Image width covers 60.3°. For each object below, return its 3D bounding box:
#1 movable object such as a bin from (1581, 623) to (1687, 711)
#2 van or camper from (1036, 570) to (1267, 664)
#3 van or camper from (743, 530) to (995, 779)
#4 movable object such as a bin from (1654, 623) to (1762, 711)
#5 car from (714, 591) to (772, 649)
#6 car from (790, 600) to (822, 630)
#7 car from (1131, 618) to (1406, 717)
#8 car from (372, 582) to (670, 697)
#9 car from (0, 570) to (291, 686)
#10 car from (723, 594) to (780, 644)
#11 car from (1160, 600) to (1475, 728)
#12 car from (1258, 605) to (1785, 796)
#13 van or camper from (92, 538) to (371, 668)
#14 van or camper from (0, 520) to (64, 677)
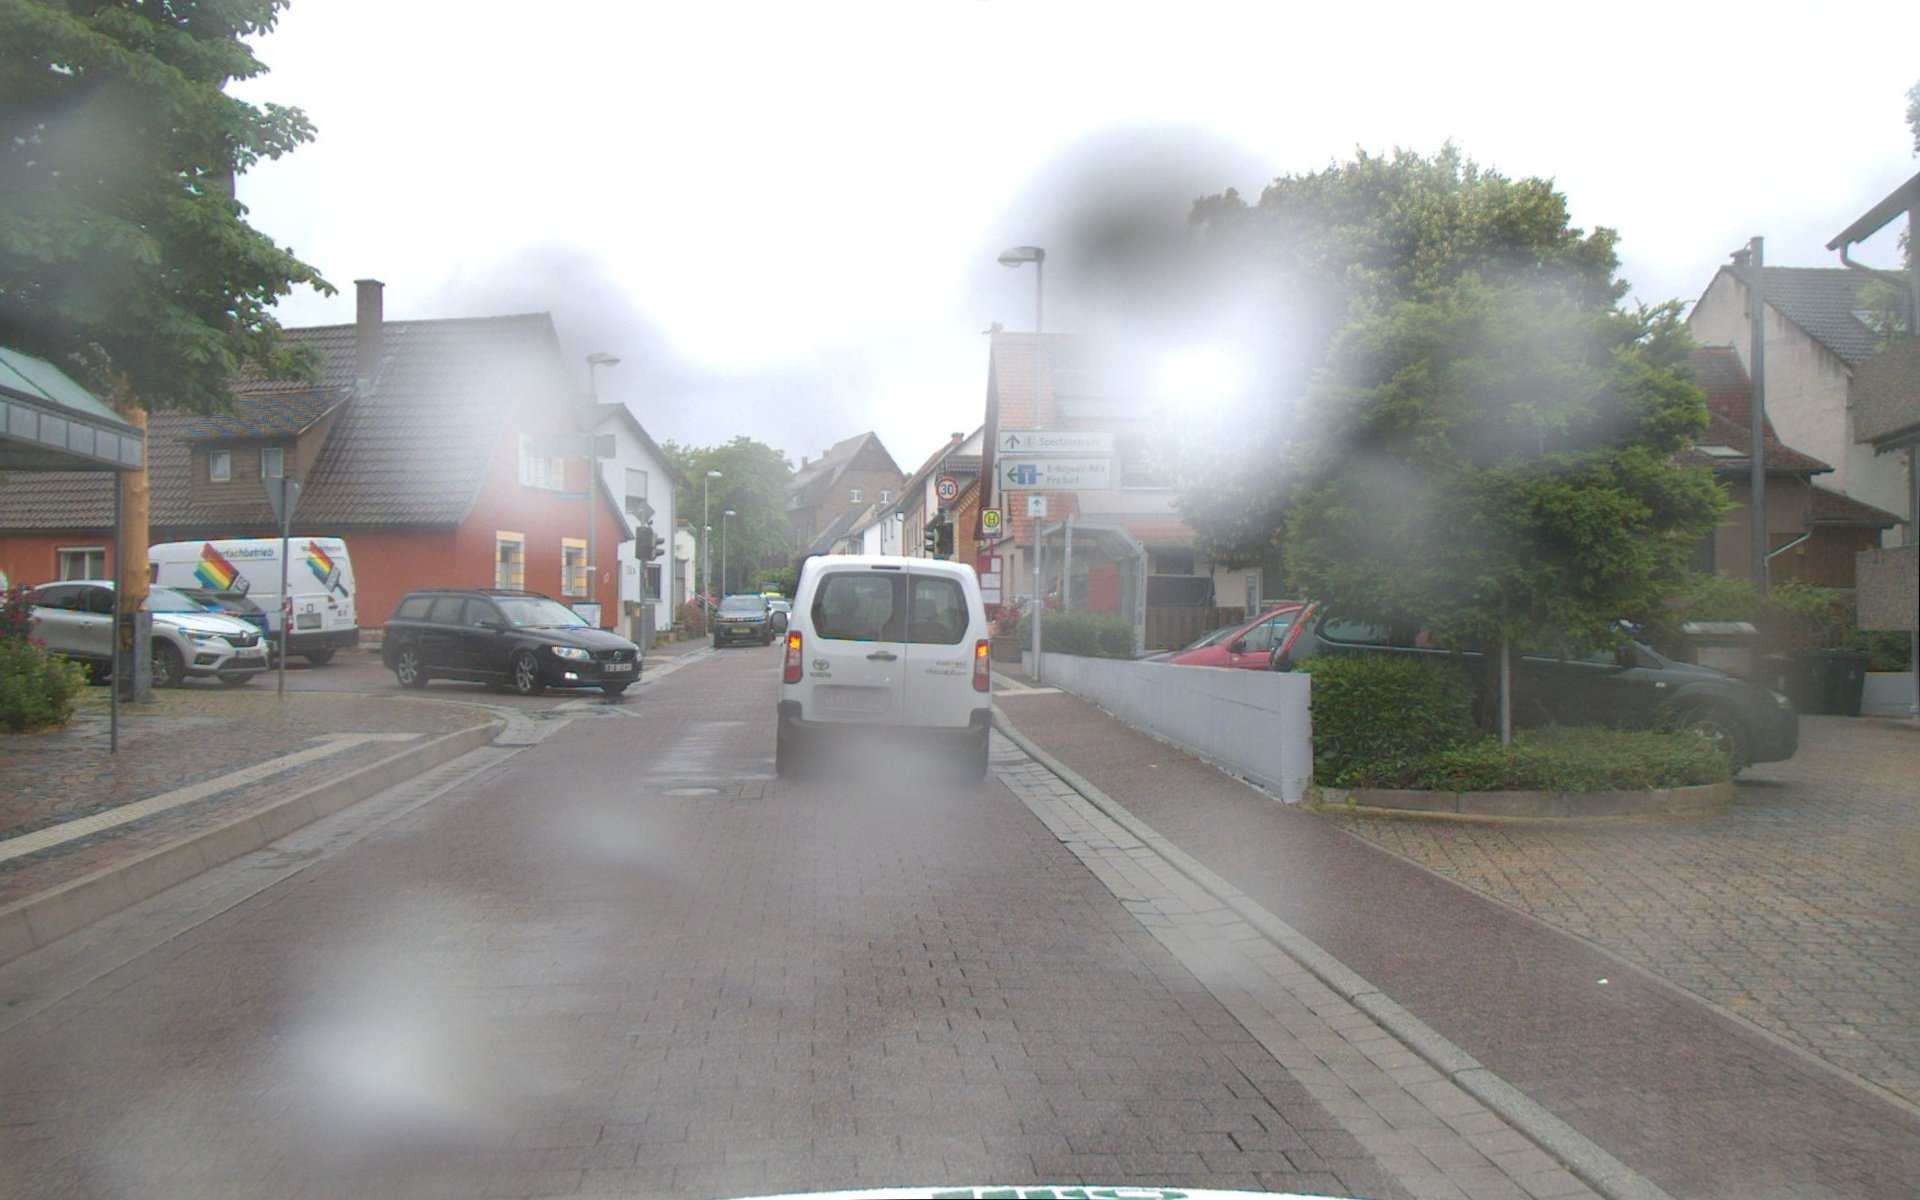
[{"bbox_3d":[11.078,1.093,27.215,1.217,1.381,1.154,1,0,-4],"label":"movable object such as a bin"},{"bbox_3d":[4.402,0.396,38.322,4.974,1.957,1.872,2,-1,-9],"label":"van or camper"},{"bbox_3d":[-0.907,0.436,14.885,1.906,1.883,3.995,2,0,-6],"label":"van or camper"},{"bbox_3d":[12.331,1.090,27.301,1.217,1.381,1.154,1,0,-4],"label":"movable object such as a bin"},{"bbox_3d":[-7.034,0.619,53.794,1.777,1.810,4.012,0,0,-7],"label":"car"},{"bbox_3d":[-10.501,0.983,112.489,1.956,1.777,3.995,2,2,-7],"label":"car"},{"bbox_3d":[4.555,0.988,24.874,3.869,1.402,1.752,0,0,3],"label":"car"},{"bbox_3d":[-6.585,0.556,24.743,4.220,1.503,1.846,2,-1,30],"label":"car"},{"bbox_3d":[-12.740,0.400,25.317,4.352,1.577,1.883,2,-1,16],"label":"car"},{"bbox_3d":[-7.552,0.713,60.211,1.714,1.665,4.414,-2,-1,-4],"label":"car"},{"bbox_3d":[4.745,0.819,22.314,3.981,1.617,1.859,0,0,9],"label":"car"},{"bbox_3d":[4.694,0.808,14.387,4.137,1.506,1.696,0,0,10],"label":"car"},{"bbox_3d":[-14.715,0.049,33.436,5.036,2.478,2.212,0,1,21],"label":"van or camper"},{"bbox_3d":[-18.029,-0.106,27.538,5.738,2.517,2.155,2,-1,20],"label":"van or camper"}]
